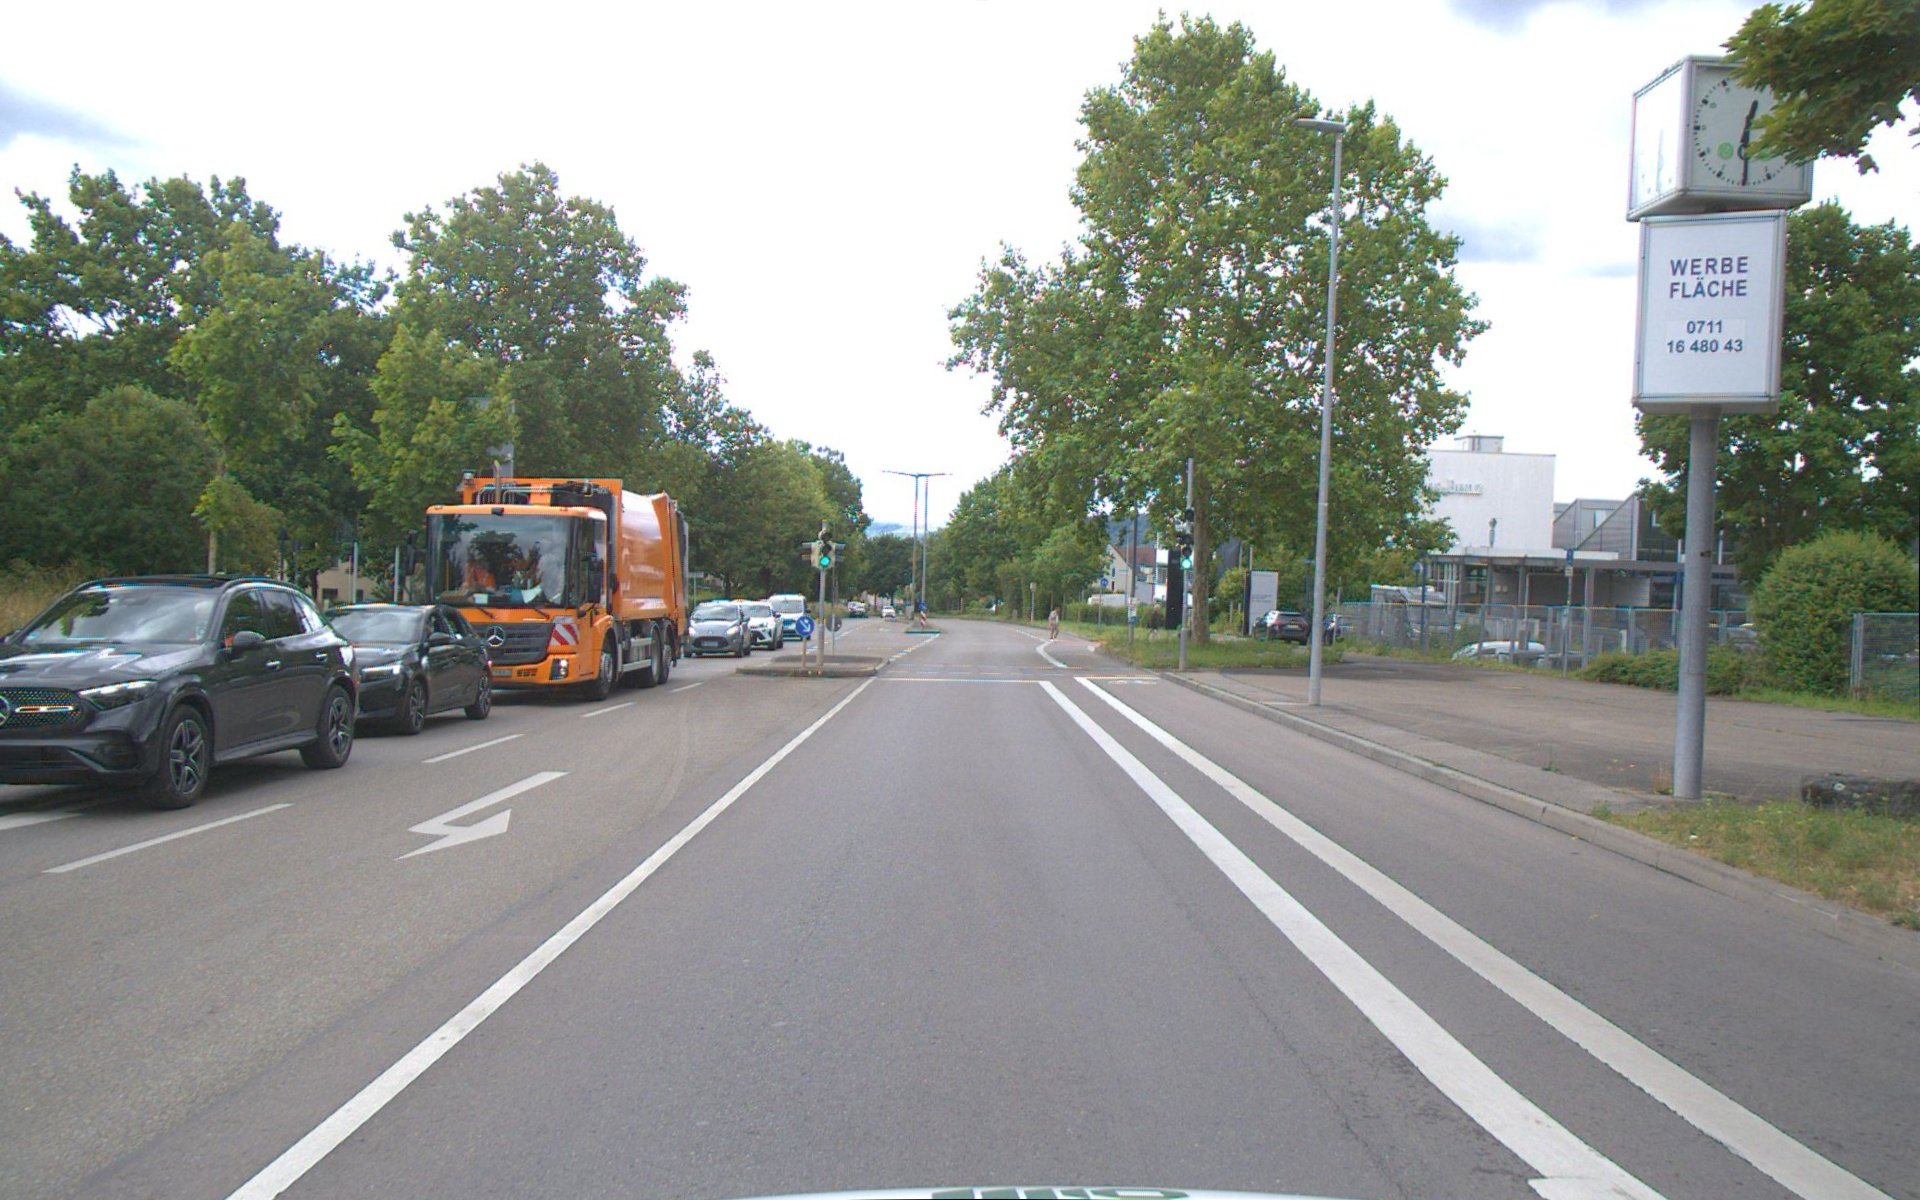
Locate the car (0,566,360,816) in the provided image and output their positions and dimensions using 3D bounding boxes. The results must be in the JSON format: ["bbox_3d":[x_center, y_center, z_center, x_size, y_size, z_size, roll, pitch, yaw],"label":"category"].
[{"bbox_3d":[-6.216,0.572,12.890,1.606,1.613,4.060,2,1,-1],"label":"car"}]

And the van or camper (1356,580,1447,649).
[{"bbox_3d":[19.766,0.593,74.368,1.926,2.918,6.916,1,0,-2],"label":"van or camper"}]

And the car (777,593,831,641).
[{"bbox_3d":[-6.210,0.656,66.179,1.809,1.835,4.649,0,0,-2],"label":"car"}]

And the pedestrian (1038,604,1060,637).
[{"bbox_3d":[4.113,0.947,76.130,0.777,1.489,0.745,1,0,-19],"label":"pedestrian"}]

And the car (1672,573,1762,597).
[{"bbox_3d":[35.119,-0.692,76.771,3.566,0.995,1.412,2,0,-1],"label":"car"}]

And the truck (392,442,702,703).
[{"bbox_3d":[-6.517,-0.427,27.976,2.650,3.548,9.995,2,1,0],"label":"truck"}]

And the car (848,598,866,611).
[{"bbox_3d":[-11.244,0.521,180.047,1.736,1.327,3.999,2,0,-1],"label":"car"}]

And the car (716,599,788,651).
[{"bbox_3d":[-6.680,0.773,53.534,1.809,1.547,4.814,0,0,-2],"label":"car"}]

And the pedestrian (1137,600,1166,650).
[{"bbox_3d":[7.163,0.944,61.848,0.734,1.833,0.859,1,0,35],"label":"pedestrian"}]

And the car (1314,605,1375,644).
[{"bbox_3d":[17.148,1.073,73.990,1.676,1.534,4.344,3,0,0],"label":"car"}]

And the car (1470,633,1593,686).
[{"bbox_3d":[19.793,2.045,57.353,3.661,1.646,1.690,2,0,-5],"label":"car"}]

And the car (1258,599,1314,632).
[{"bbox_3d":[14.494,0.658,73.767,1.675,1.378,4.344,1,0,0],"label":"car"}]

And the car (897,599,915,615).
[{"bbox_3d":[-4.893,0.623,149.963,1.579,1.327,3.999,2,0,-1],"label":"car"}]

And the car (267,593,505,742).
[{"bbox_3d":[-6.515,0.696,19.181,1.404,1.483,3.894,2,1,-1],"label":"car"}]

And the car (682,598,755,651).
[{"bbox_3d":[-6.602,0.645,45.547,1.516,1.354,3.653,0,0,-1],"label":"car"}]
